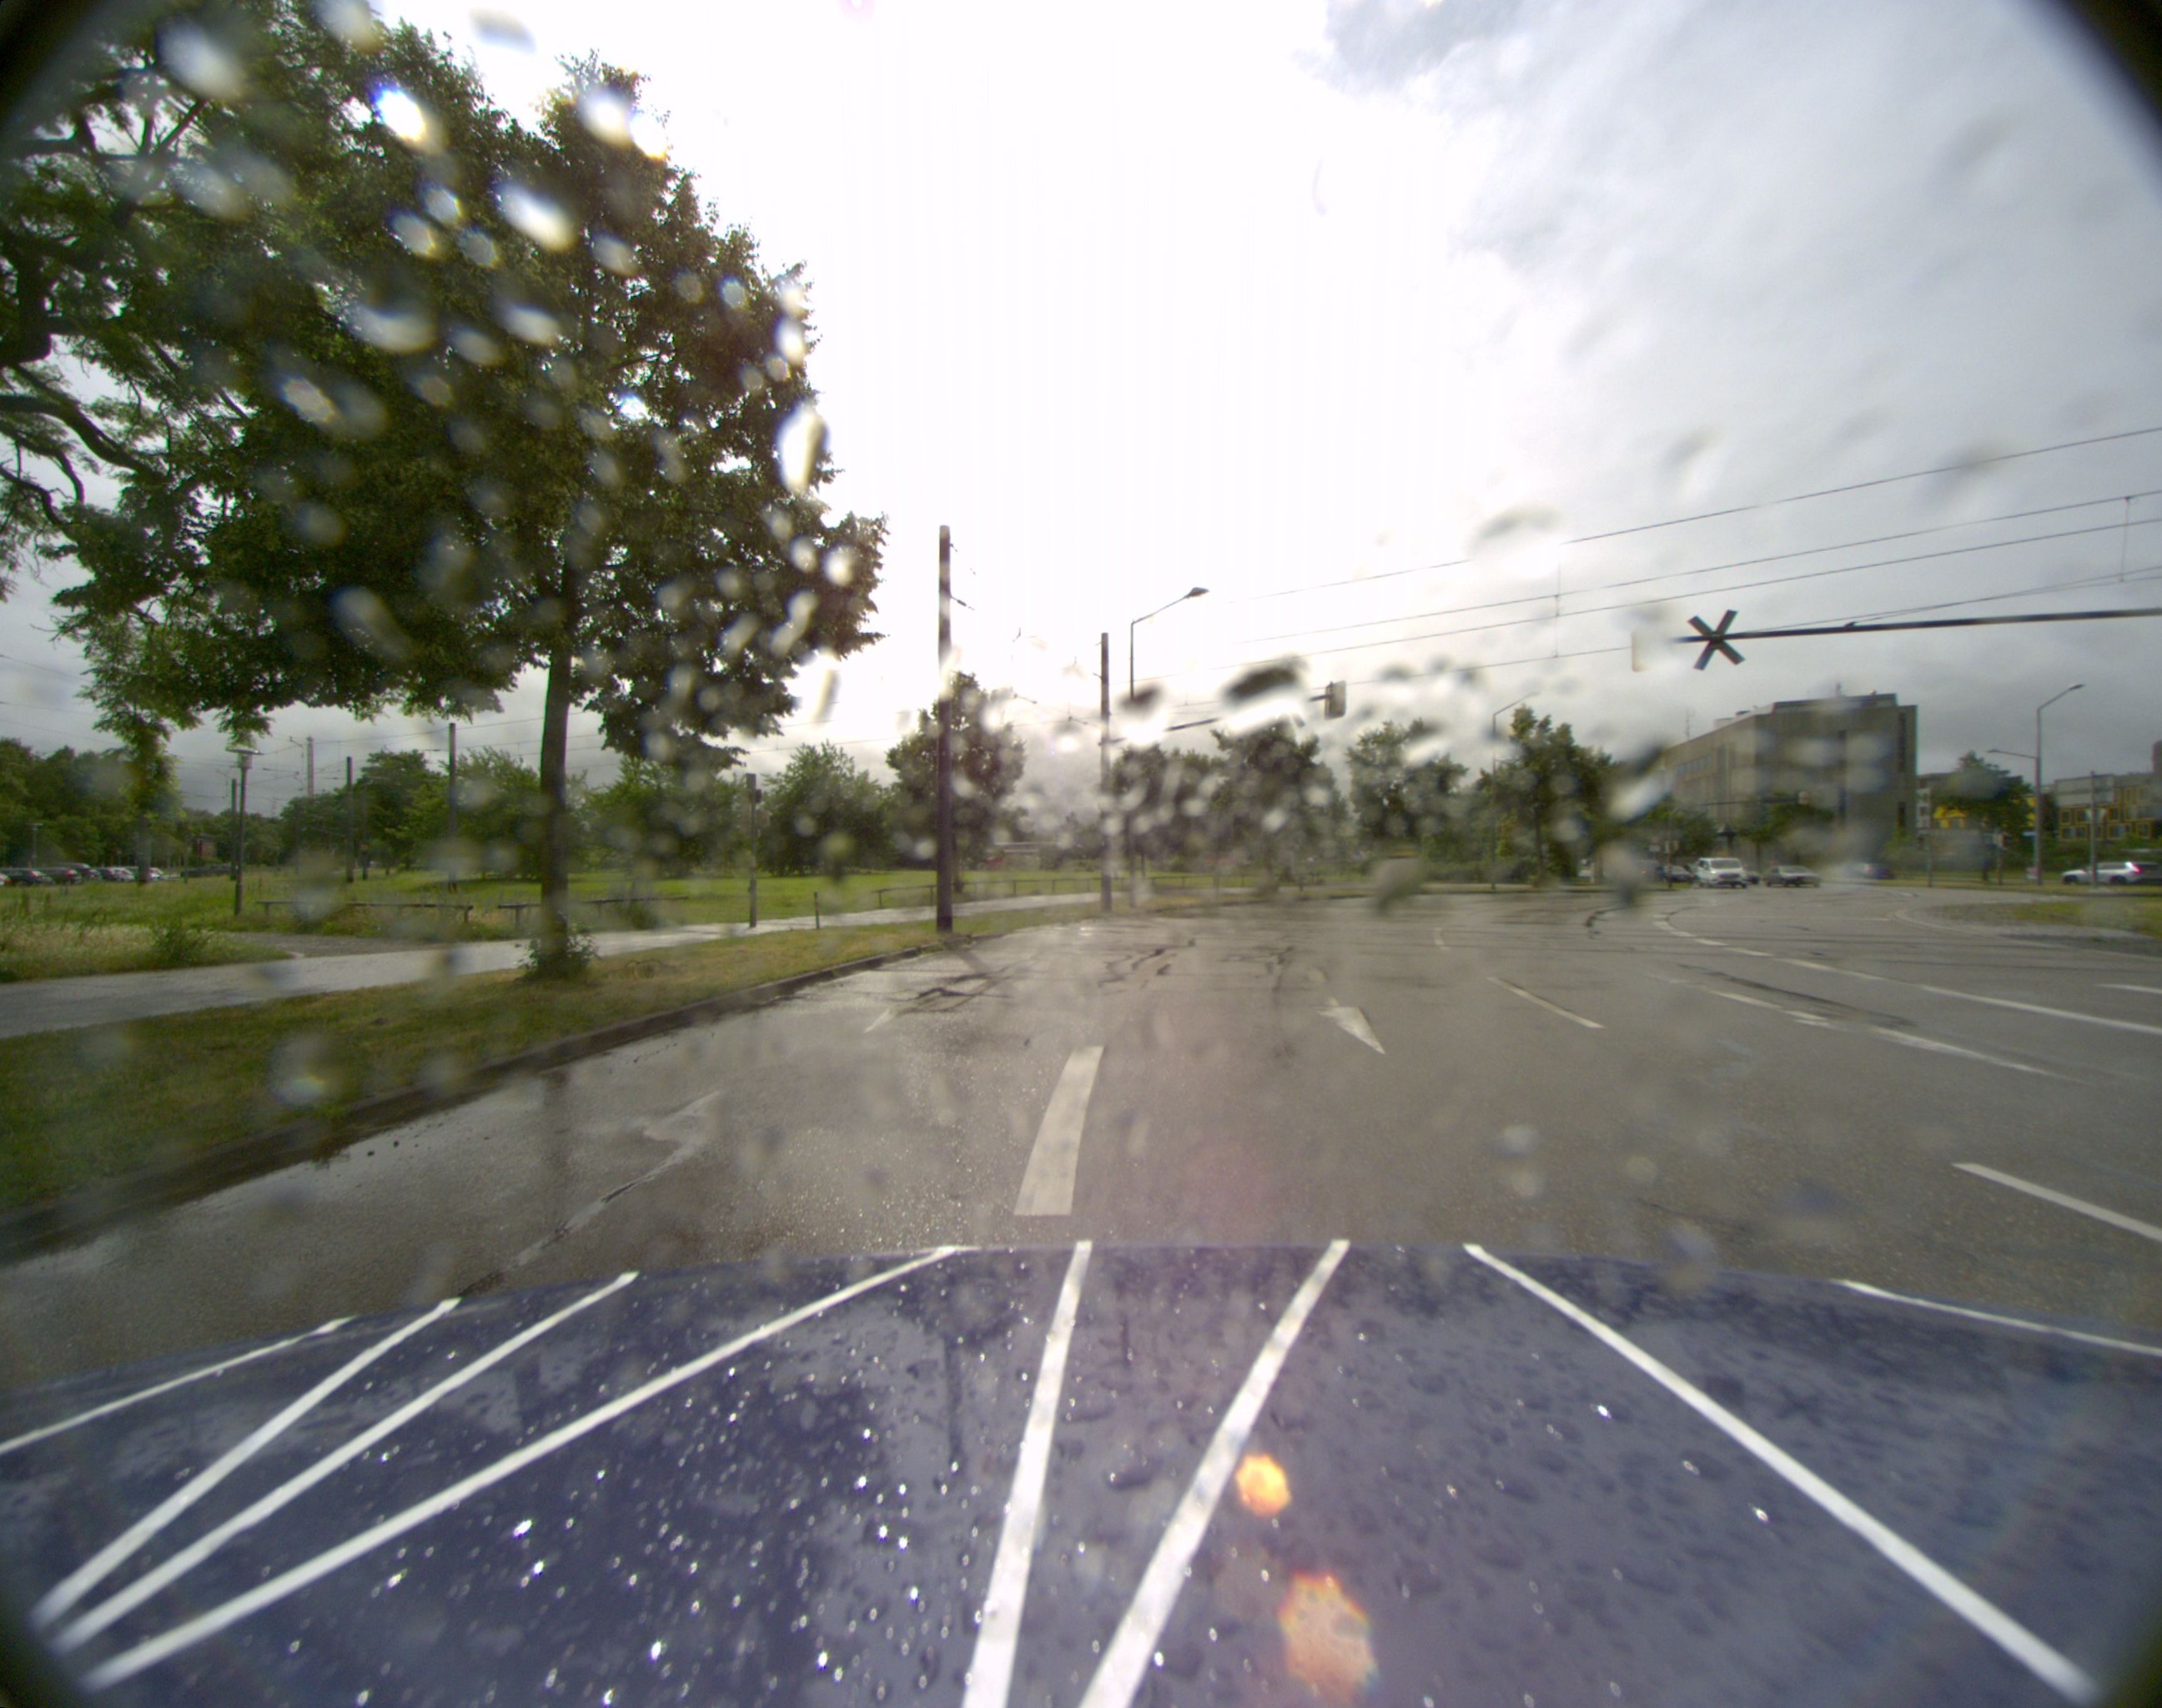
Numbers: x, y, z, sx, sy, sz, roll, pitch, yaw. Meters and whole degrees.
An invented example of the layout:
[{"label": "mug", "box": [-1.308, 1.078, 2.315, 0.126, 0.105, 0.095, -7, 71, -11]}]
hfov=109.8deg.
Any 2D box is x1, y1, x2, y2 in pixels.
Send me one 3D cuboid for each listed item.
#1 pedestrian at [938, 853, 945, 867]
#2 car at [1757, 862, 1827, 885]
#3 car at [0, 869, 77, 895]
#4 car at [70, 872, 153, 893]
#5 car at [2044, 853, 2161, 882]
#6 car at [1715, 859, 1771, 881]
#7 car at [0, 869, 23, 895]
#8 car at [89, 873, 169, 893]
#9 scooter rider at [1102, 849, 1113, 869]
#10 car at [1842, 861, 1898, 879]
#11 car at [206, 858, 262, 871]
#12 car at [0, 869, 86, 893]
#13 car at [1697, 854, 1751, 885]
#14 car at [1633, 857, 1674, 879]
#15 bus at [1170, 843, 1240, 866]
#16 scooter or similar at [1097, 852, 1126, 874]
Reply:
[{"label": "pedestrian", "box": [-17.192, 0.739, 93.393, 0.607, 1.721, 0.598, 0, -2, -42]}, {"label": "car", "box": [46.908, 1.274, 50.229, 1.863, 1.372, 4.559, -1, -1, 22]}, {"label": "car", "box": [-69.361, 1.823, 49.781, 3.987, 1.550, 1.845, -1, 0, -39]}, {"label": "car", "box": [-81.864, 2.384, 64.236, 3.987, 1.550, 1.845, -1, 0, -39]}, {"label": "car", "box": [61.117, 0.795, 45.367, 1.873, 1.653, 4.487, 0, -1, 8]}, {"label": "car", "box": [50.755, 1.209, 58.370, 1.863, 1.527, 4.495, 0, 1, 22]}, {"label": "car", "box": [-67.716, 1.741, 45.947, 3.987, 1.550, 1.845, -1, 0, -39]}, {"label": "car", "box": [-83.106, 2.487, 66.405, 3.987, 1.550, 1.845, -1, 0, -39]}, {"label": "scooter rider", "box": [2.625, 0.531, 75.873, 0.707, 2.001, 0.769, 0, -2, -32]}, {"label": "car", "box": [63.558, 1.312, 61.281, 1.731, 1.404, 4.136, 0, -2, 25]}, {"label": "car", "box": [-104.964, 1.320, 94.253, 4.412, 1.550, 1.845, -1, 0, -39]}, {"label": "car", "box": [-72.374, 1.828, 52.557, 3.987, 1.550, 1.845, -1, 0, -39]}, {"label": "car", "box": [43.628, 1.060, 51.660, 2.073, 1.975, 4.810, 0, -1, 31]}, {"label": "car", "box": [52.141, 1.283, 69.305, 2.073, 1.975, 4.809, 0, -1, 25]}, {"label": "bus", "box": [20.110, 0.096, 123.438, 10.966, 3.438, 2.003, -2, -2, 14]}, {"label": "scooter or similar", "box": [3.038, 0.914, 75.150, 1.242, 2.001, 3.402, 0, -2, -29]}]
